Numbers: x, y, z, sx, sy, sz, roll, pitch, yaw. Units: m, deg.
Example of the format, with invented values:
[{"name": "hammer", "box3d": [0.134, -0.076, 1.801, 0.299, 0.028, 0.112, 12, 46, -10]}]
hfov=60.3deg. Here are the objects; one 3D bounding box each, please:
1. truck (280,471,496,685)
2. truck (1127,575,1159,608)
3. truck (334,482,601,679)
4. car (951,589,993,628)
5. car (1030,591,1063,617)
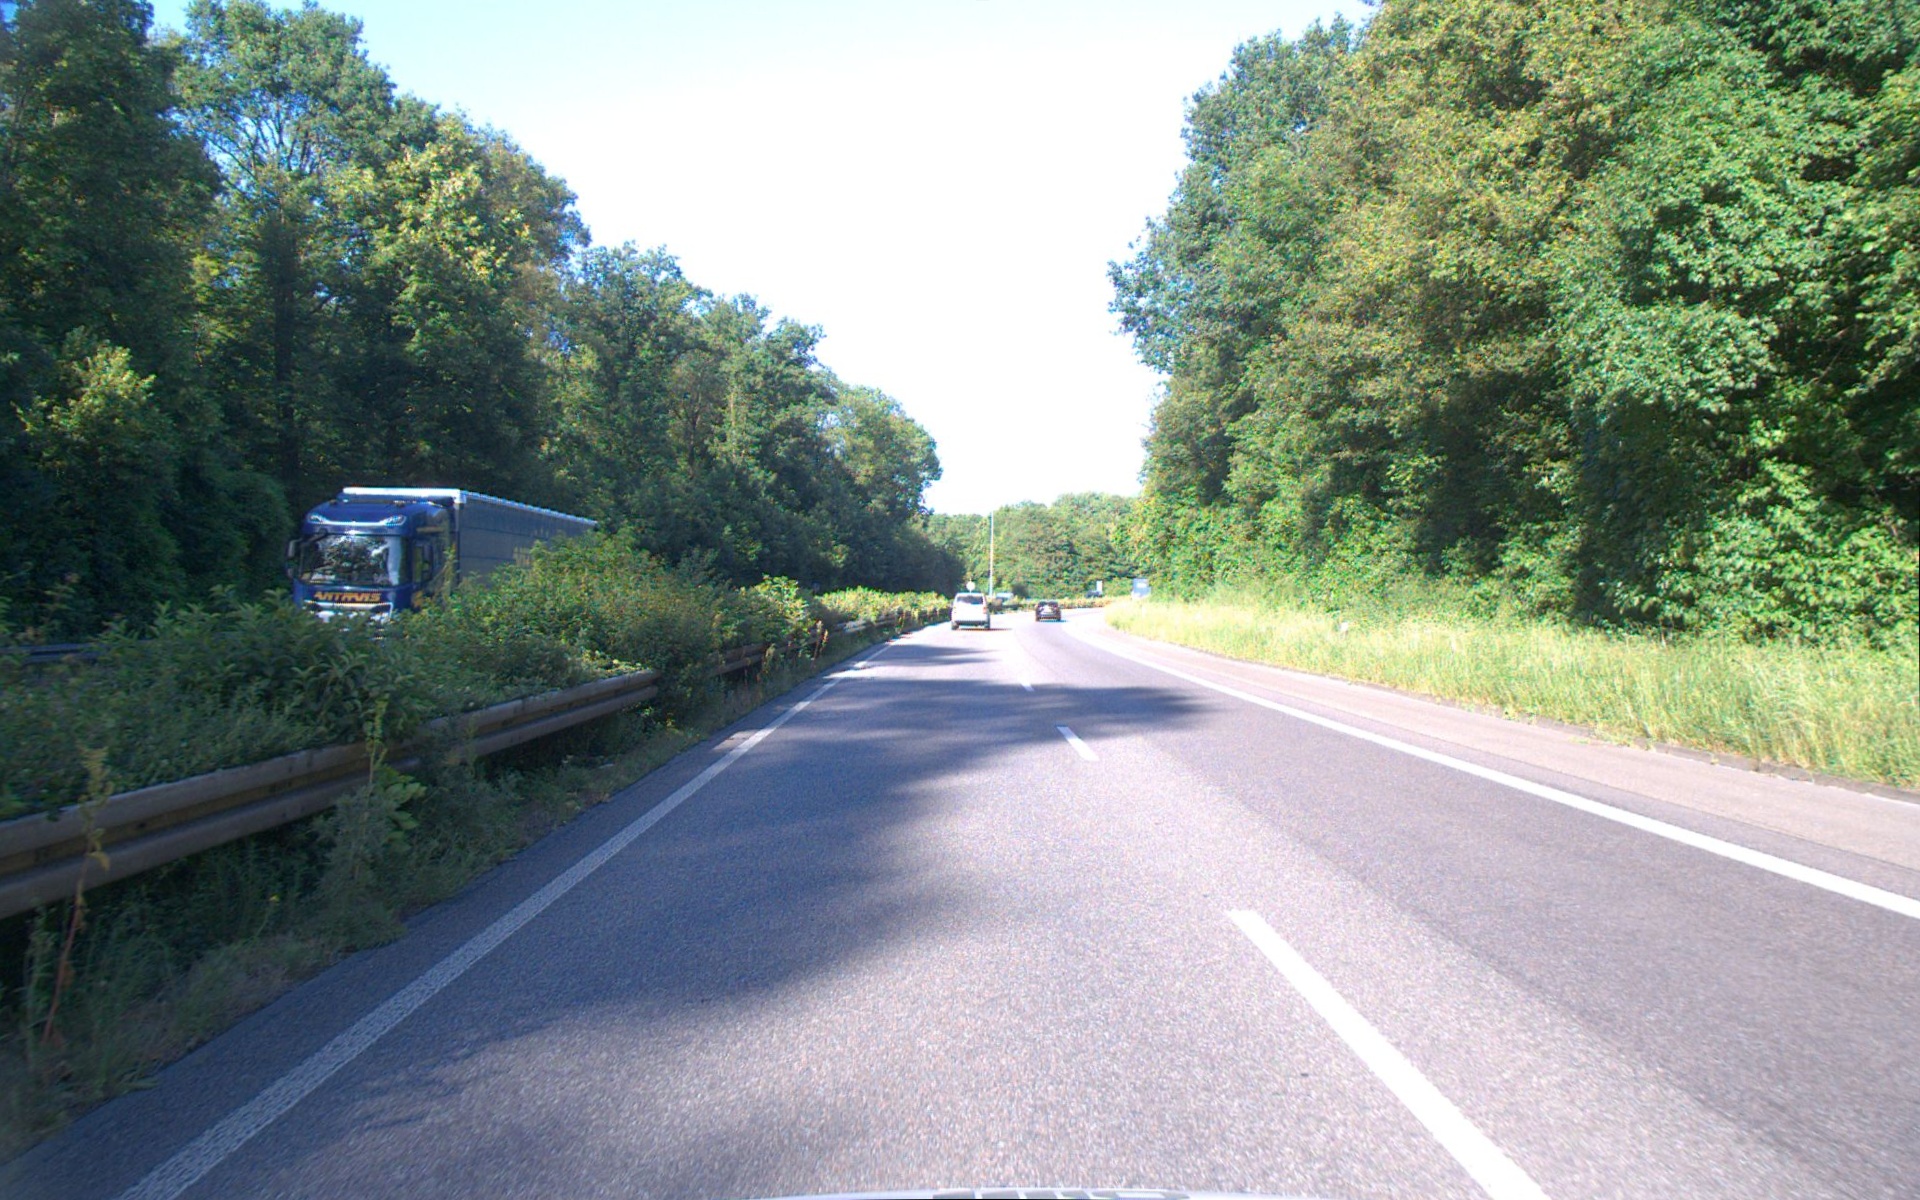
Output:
[{"name": "truck", "box3d": [-12.023, -0.422, 35.283, 2.660, 4.168, 5.436, 1, 0, 0]}, {"name": "truck", "box3d": [25.508, -1.203, 229.787, 3.654, 4.419, 9.312, 1, 0, 11]}, {"name": "truck", "box3d": [-12.060, -0.393, 42.434, 2.652, 4.168, 14.020, 1, 0, 0]}, {"name": "car", "box3d": [0.566, 0.408, 81.471, 1.912, 1.813, 4.586, 1, 0, -1]}, {"name": "car", "box3d": [6.125, 0.281, 117.568, 1.912, 1.813, 4.586, 1, 0, -1]}]
